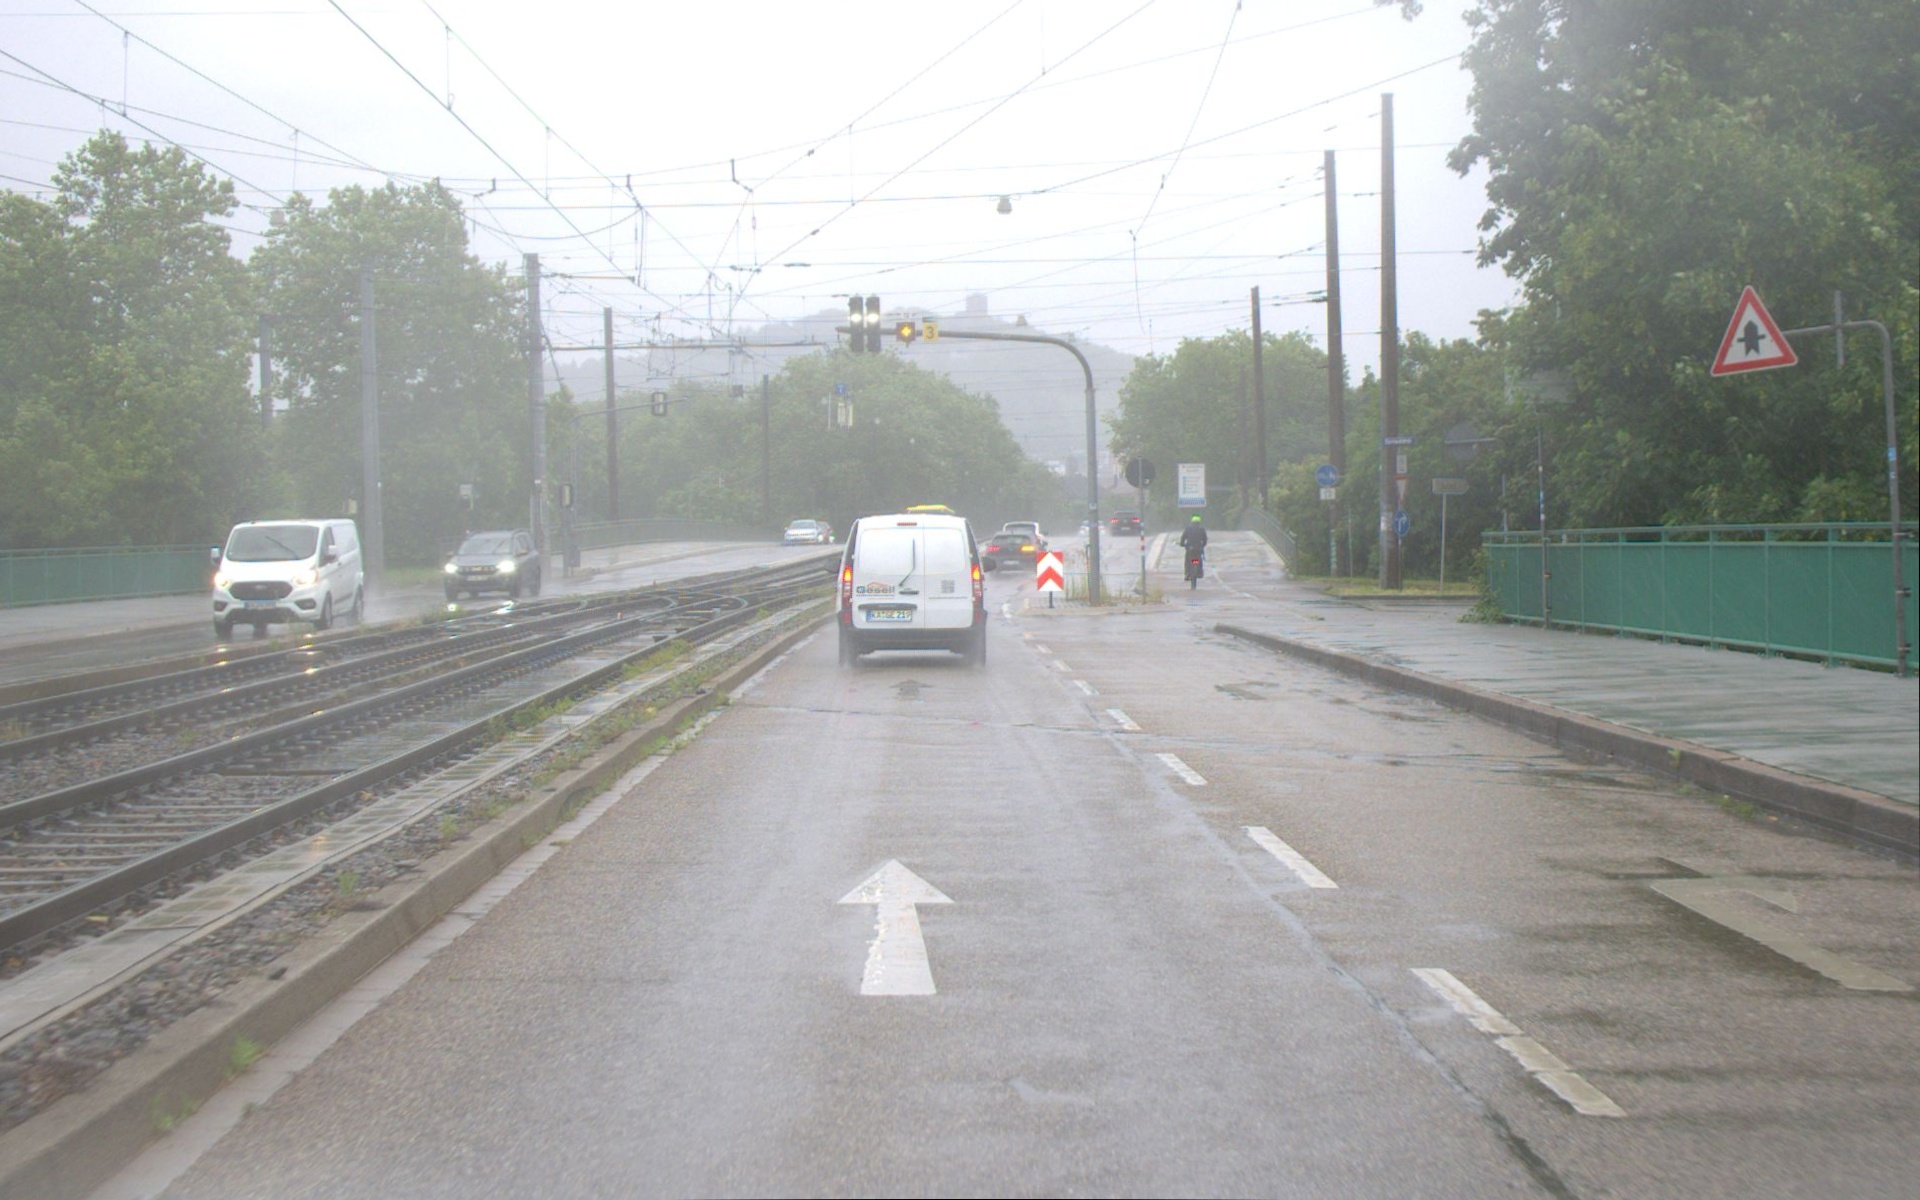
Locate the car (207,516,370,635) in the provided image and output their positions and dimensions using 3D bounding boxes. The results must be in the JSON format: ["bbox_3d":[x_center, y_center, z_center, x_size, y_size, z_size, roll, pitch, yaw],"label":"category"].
[{"bbox_3d":[-11.983,-0.479,61.645,1.993,2.037,5.029,1,1,-1],"label":"car"}]

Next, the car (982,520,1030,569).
[{"bbox_3d":[1.427,-1.736,107.422,1.451,1.494,2.982,1,1,0],"label":"car"}]

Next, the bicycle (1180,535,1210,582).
[{"bbox_3d":[5.817,-1.033,85.028,0.723,1.125,2.167,1,2,4],"label":"bicycle"}]

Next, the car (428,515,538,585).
[{"bbox_3d":[-11.647,-1.251,84.264,1.993,1.643,5.372,1,1,-1],"label":"car"}]

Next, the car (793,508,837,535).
[{"bbox_3d":[-7.837,-4.246,186.345,1.934,1.227,4.100,-3,3,4],"label":"car"}]

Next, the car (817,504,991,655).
[{"bbox_3d":[-0.641,-0.260,41.592,1.993,1.720,4.000,1,1,0],"label":"car"}]

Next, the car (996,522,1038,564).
[{"bbox_3d":[2.088,-2.104,127.073,1.451,1.494,2.982,1,1,0],"label":"car"}]

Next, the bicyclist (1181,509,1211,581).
[{"bbox_3d":[5.830,-1.363,85.019,0.725,1.758,0.949,1,1,4],"label":"bicyclist"}]
